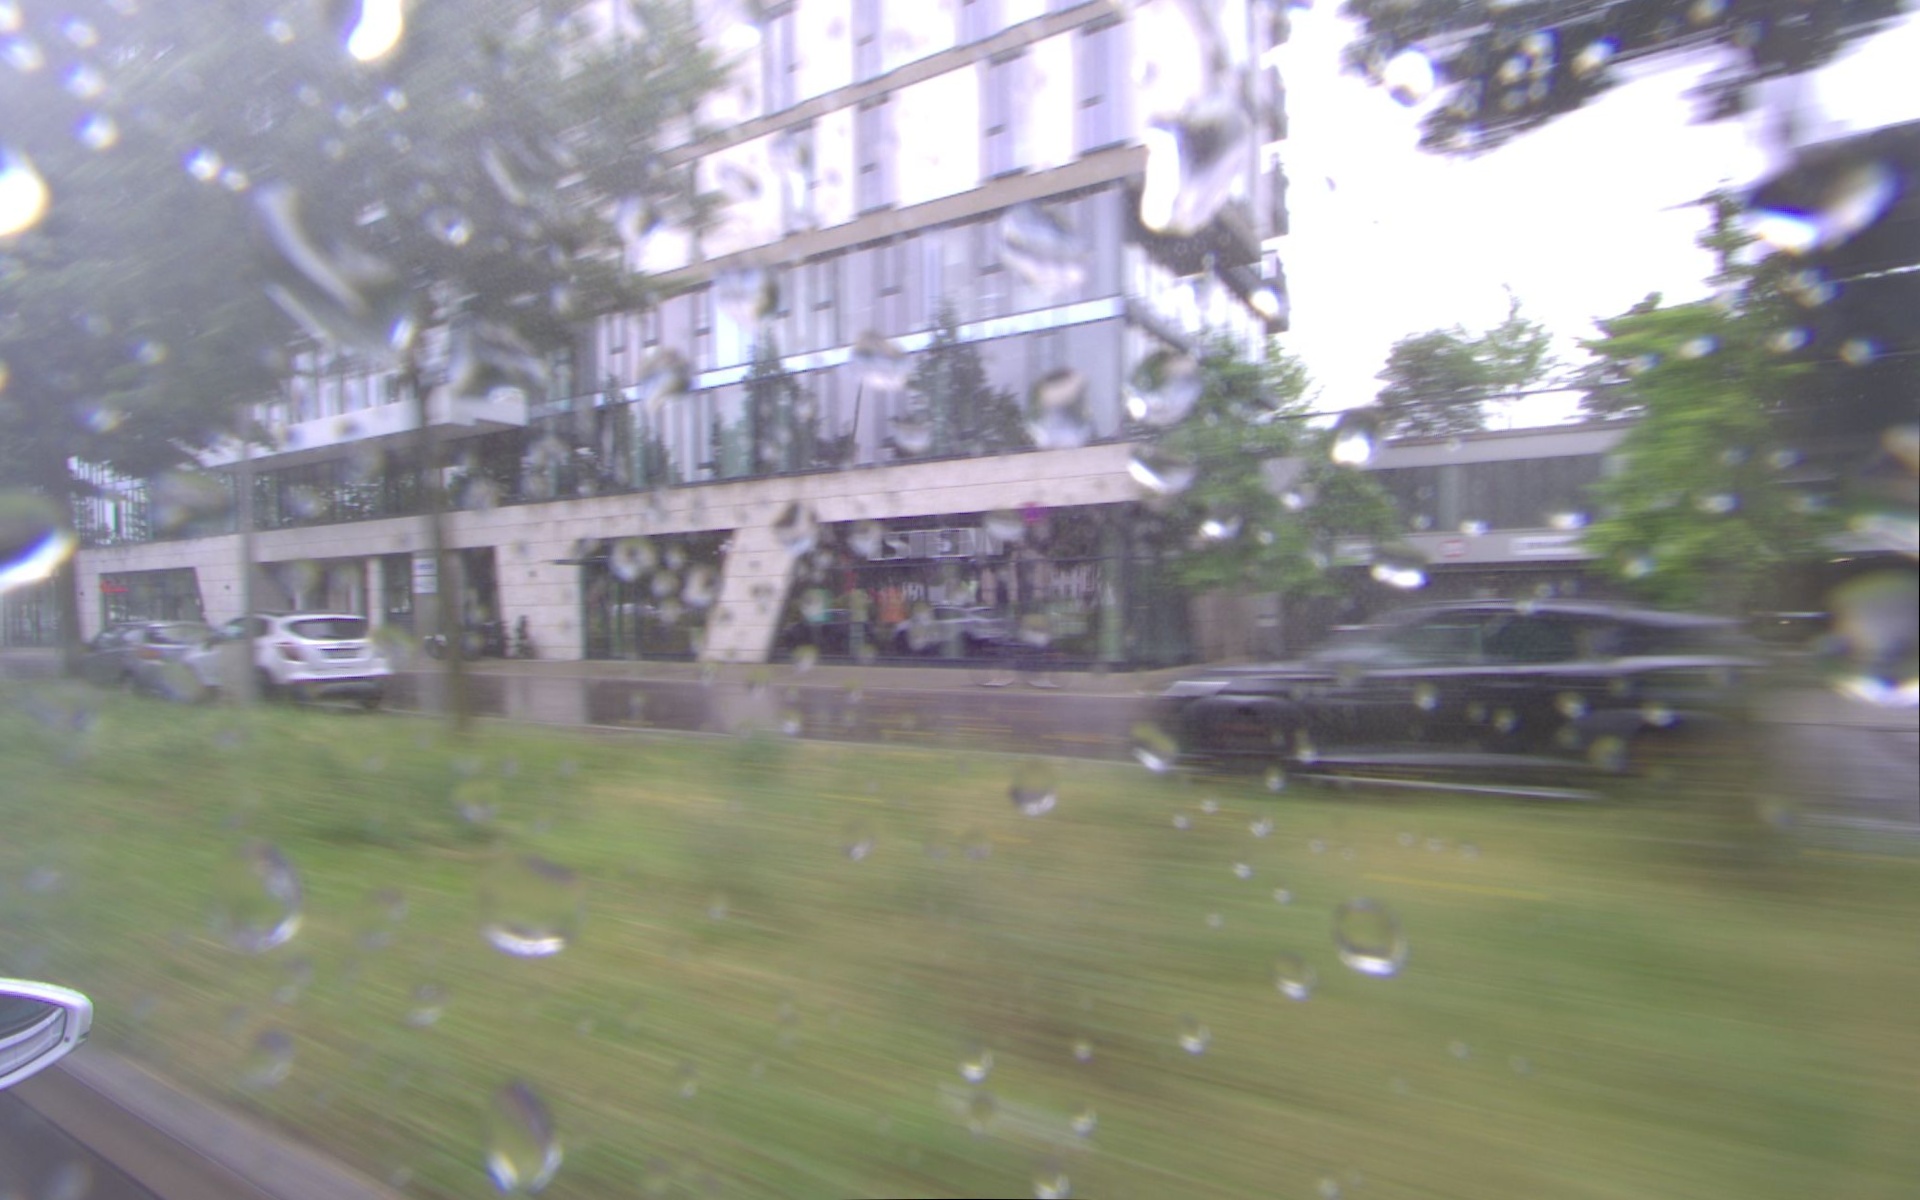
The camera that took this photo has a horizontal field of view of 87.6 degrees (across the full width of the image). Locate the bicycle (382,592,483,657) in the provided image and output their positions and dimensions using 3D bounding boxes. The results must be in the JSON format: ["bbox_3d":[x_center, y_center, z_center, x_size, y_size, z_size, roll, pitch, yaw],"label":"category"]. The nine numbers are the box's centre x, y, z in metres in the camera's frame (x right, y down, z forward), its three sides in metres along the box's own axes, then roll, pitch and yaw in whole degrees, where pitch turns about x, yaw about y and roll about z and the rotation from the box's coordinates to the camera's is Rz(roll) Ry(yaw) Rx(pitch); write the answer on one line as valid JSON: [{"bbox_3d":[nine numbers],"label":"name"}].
[{"bbox_3d":[-15.907,0.714,30.269,0.698,1.885,2.671,0,0,36],"label":"bicycle"}]

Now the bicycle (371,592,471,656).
[{"bbox_3d":[-16.491,0.723,30.721,0.698,1.885,2.671,0,0,36],"label":"bicycle"}]

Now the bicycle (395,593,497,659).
[{"bbox_3d":[-15.261,0.750,29.830,0.698,1.885,2.671,0,0,36],"label":"bicycle"}]

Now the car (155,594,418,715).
[{"bbox_3d":[-11.452,0.814,16.952,4.654,1.691,1.990,2,1,32],"label":"car"}]

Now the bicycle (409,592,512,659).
[{"bbox_3d":[-14.617,0.714,29.405,0.698,1.885,2.671,0,0,36],"label":"bicycle"}]

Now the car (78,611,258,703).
[{"bbox_3d":[-15.266,1.022,19.267,3.602,1.511,1.622,2,1,32],"label":"car"}]

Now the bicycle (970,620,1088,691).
[{"bbox_3d":[1.158,0.923,17.052,2.036,1.145,0.517,-1,0,35],"label":"bicycle"}]

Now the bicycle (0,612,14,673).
[{"bbox_3d":[-19.678,0.844,19.305,0.484,1.212,2.031,-1,-1,31],"label":"bicycle"}]

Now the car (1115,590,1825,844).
[{"bbox_3d":[3.633,0.738,7.876,4.410,1.533,1.956,-1,0,26],"label":"car"}]

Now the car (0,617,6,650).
[{"bbox_3d":[-47.191,1.612,47.259,4.963,1.523,1.986,0,5,34],"label":"car"}]

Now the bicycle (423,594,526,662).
[{"bbox_3d":[-14.001,0.781,28.966,0.698,1.885,2.671,0,0,36],"label":"bicycle"}]
